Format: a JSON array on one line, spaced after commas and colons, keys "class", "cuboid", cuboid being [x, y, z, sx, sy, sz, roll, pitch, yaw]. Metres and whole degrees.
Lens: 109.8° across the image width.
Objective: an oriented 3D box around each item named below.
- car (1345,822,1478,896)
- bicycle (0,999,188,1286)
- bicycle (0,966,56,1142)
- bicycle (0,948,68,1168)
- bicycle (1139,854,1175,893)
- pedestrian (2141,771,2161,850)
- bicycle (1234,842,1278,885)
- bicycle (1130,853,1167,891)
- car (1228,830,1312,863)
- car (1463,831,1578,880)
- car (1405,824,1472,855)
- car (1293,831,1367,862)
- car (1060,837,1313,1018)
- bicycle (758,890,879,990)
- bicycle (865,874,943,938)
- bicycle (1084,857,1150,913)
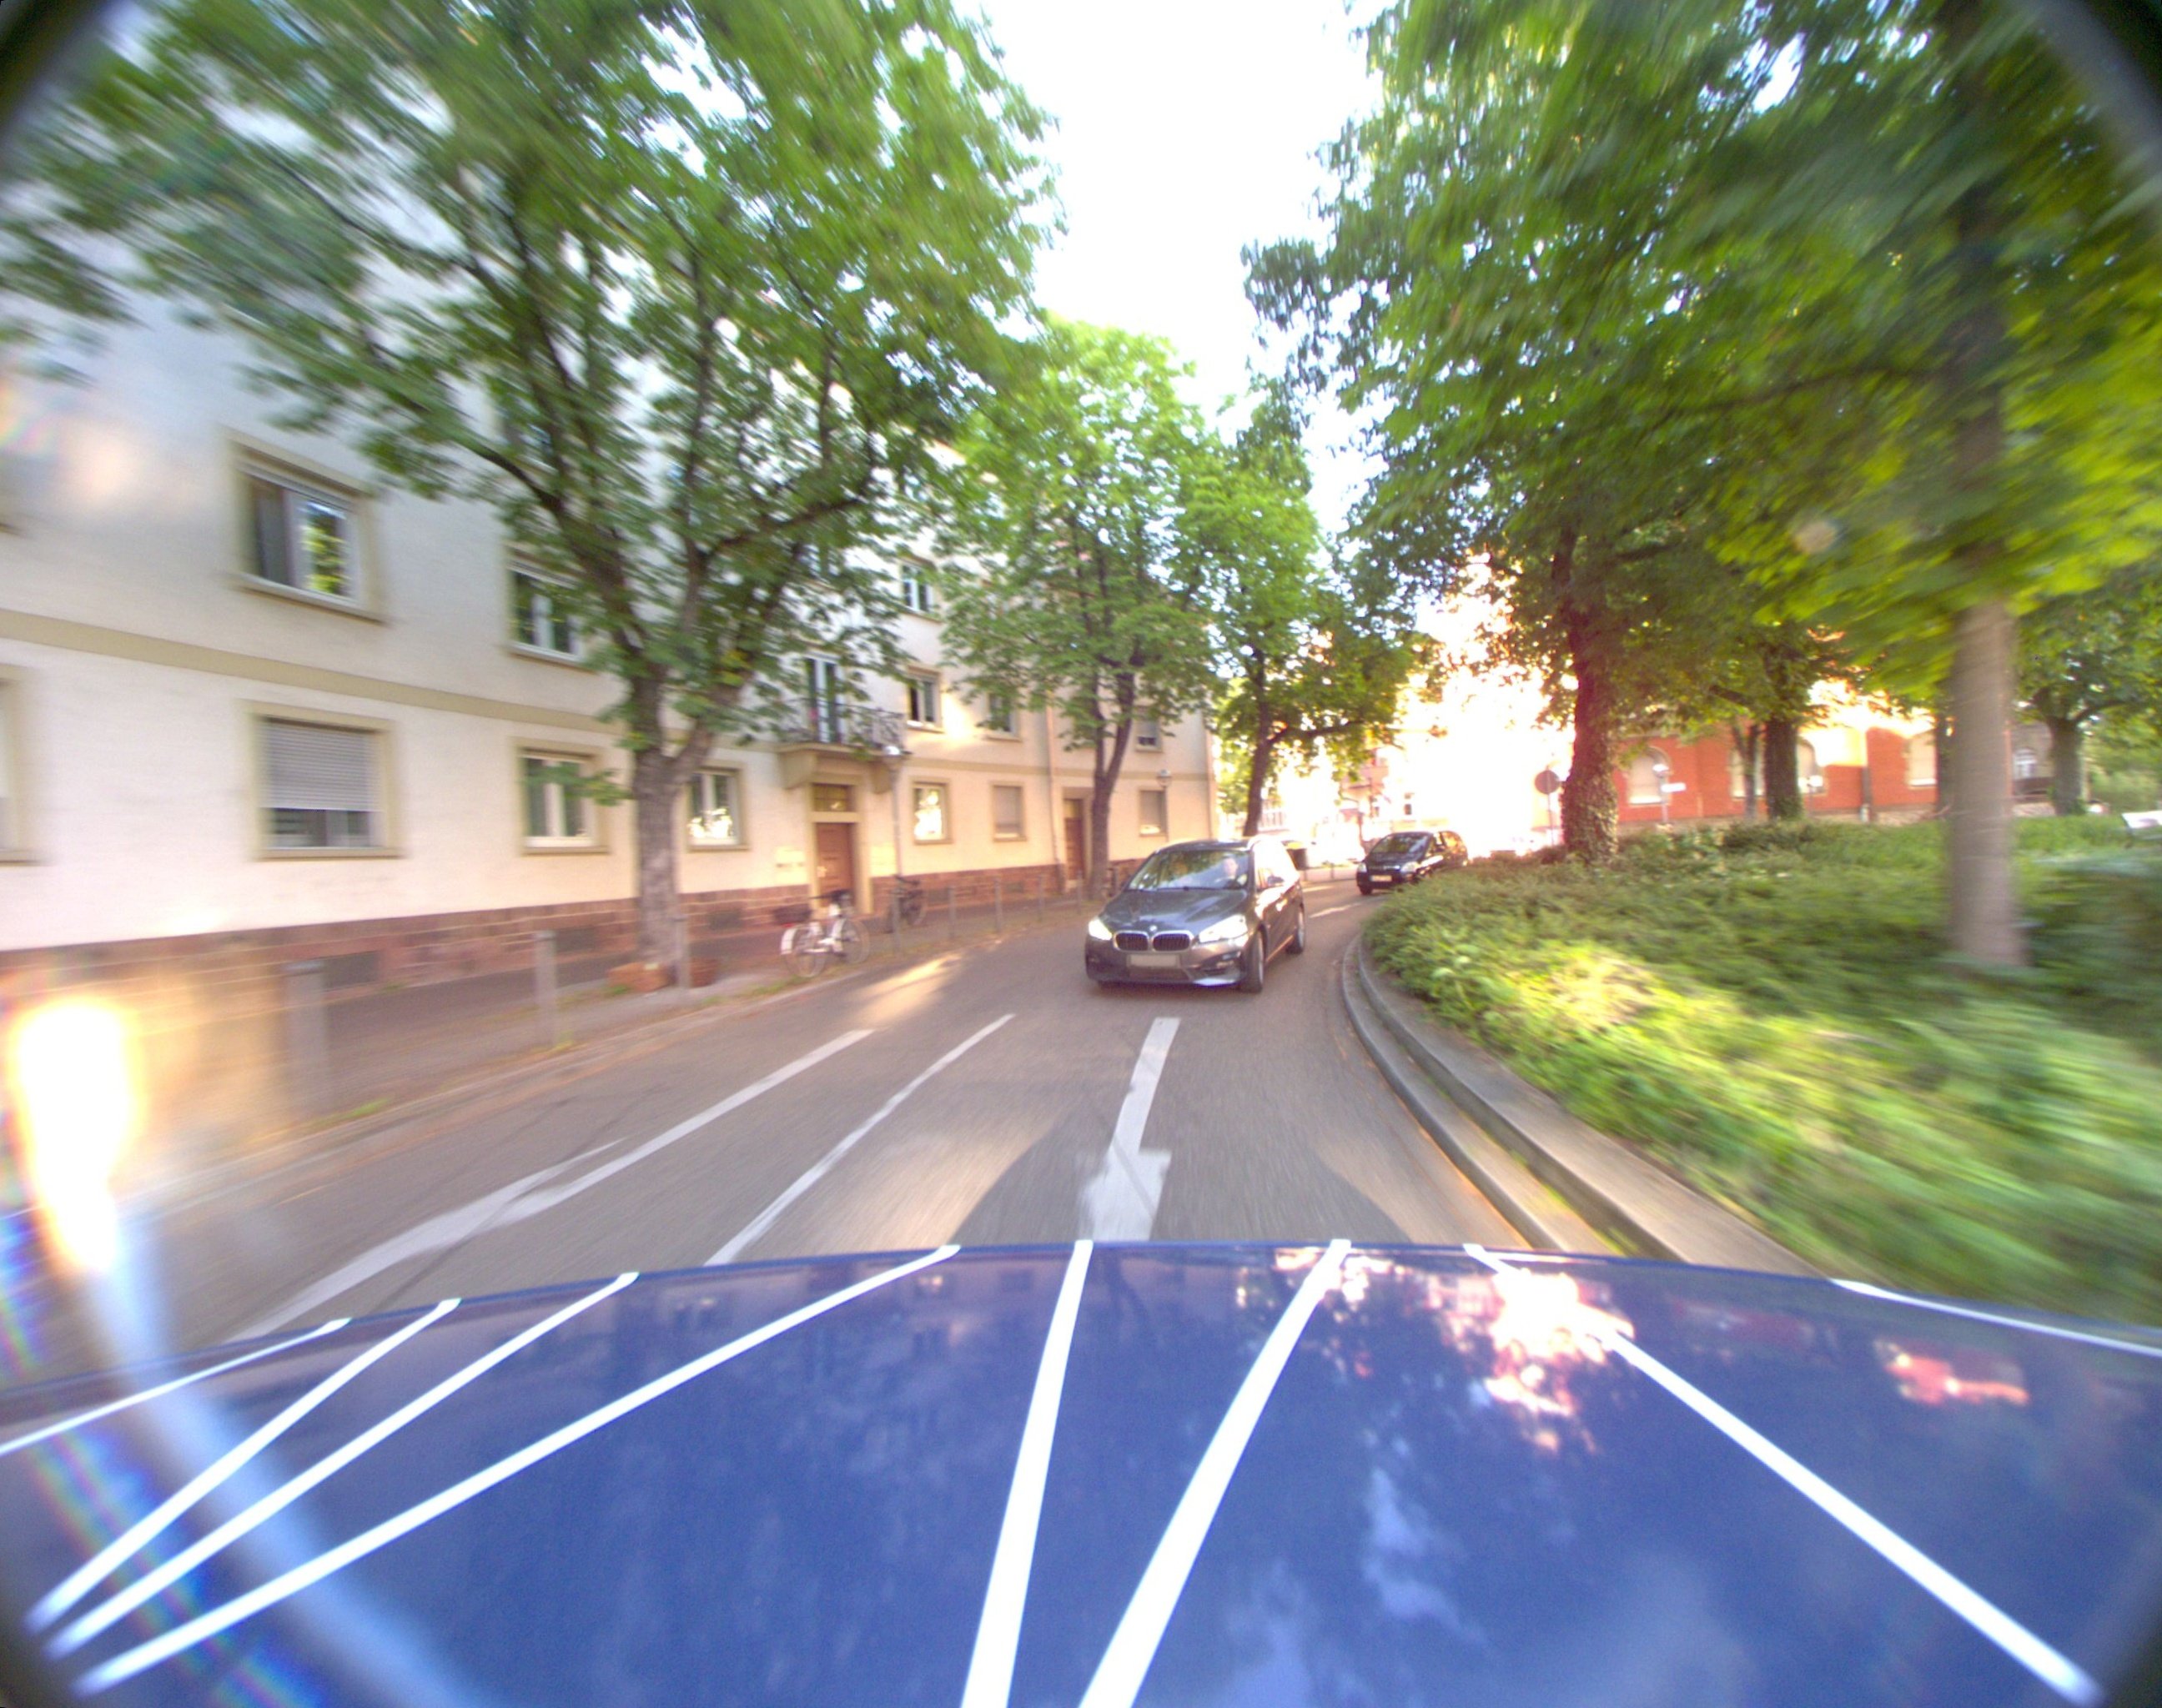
[{"class": "car", "cuboid": [8.468, 0.086, 19.349, 3.694, 1.619, 1.676, -4, 1, -43]}, {"class": "bicycle", "cuboid": [-4.942, 1.304, 3.024, 0.527, 1.101, 1.742, -1, 1, 11]}, {"class": "bicycle", "cuboid": [-7.528, 1.348, 4.253, 0.668, 1.101, 1.968, -4, 0, 15]}, {"class": "bicycle", "cuboid": [-6.936, 1.249, 3.864, 0.718, 1.270, 1.968, -2, 1, 14]}, {"class": "bicycle", "cuboid": [2.390, 0.599, 23.763, 0.334, 1.087, 1.639, -3, 1, 34]}, {"class": "pedestrian", "cuboid": [20.112, -0.820, 13.933, 0.601, 1.435, 0.709, -5, 1, -32]}, {"class": "bicycle", "cuboid": [5.775, 0.309, 24.993, 0.766, 1.297, 1.906, -3, 1, 32]}, {"class": "bicycle", "cuboid": [2.145, 0.558, 24.035, 0.334, 1.087, 1.639, -3, 1, 34]}, {"class": "car", "cuboid": [9.653, -0.393, 38.805, 3.807, 1.417, 1.673, -4, 1, -21]}, {"class": "car", "cuboid": [14.723, 0.015, 25.422, 3.693, 1.400, 1.677, -3, 2, -30]}, {"class": "car", "cuboid": [19.436, -0.773, 41.420, 1.493, 1.531, 3.210, -3, 1, -19]}, {"class": "car", "cuboid": [14.010, -0.404, 42.967, 1.807, 1.543, 4.180, -3, 0, -18]}, {"class": "car", "cuboid": [1.539, 0.663, 9.195, 1.790, 1.569, 4.267, -2, 1, 25]}, {"class": "bicycle", "cuboid": [-3.495, 1.101, 10.327, 0.513, 1.089, 1.975, -1, 1, 14]}, {"class": "bicycle", "cuboid": [-3.527, 1.018, 15.351, 0.802, 1.112, 1.859, -3, 1, 10]}, {"class": "bicycle", "cuboid": [0.909, 0.730, 18.465, 0.718, 1.216, 1.917, -3, 1, 31]}]
